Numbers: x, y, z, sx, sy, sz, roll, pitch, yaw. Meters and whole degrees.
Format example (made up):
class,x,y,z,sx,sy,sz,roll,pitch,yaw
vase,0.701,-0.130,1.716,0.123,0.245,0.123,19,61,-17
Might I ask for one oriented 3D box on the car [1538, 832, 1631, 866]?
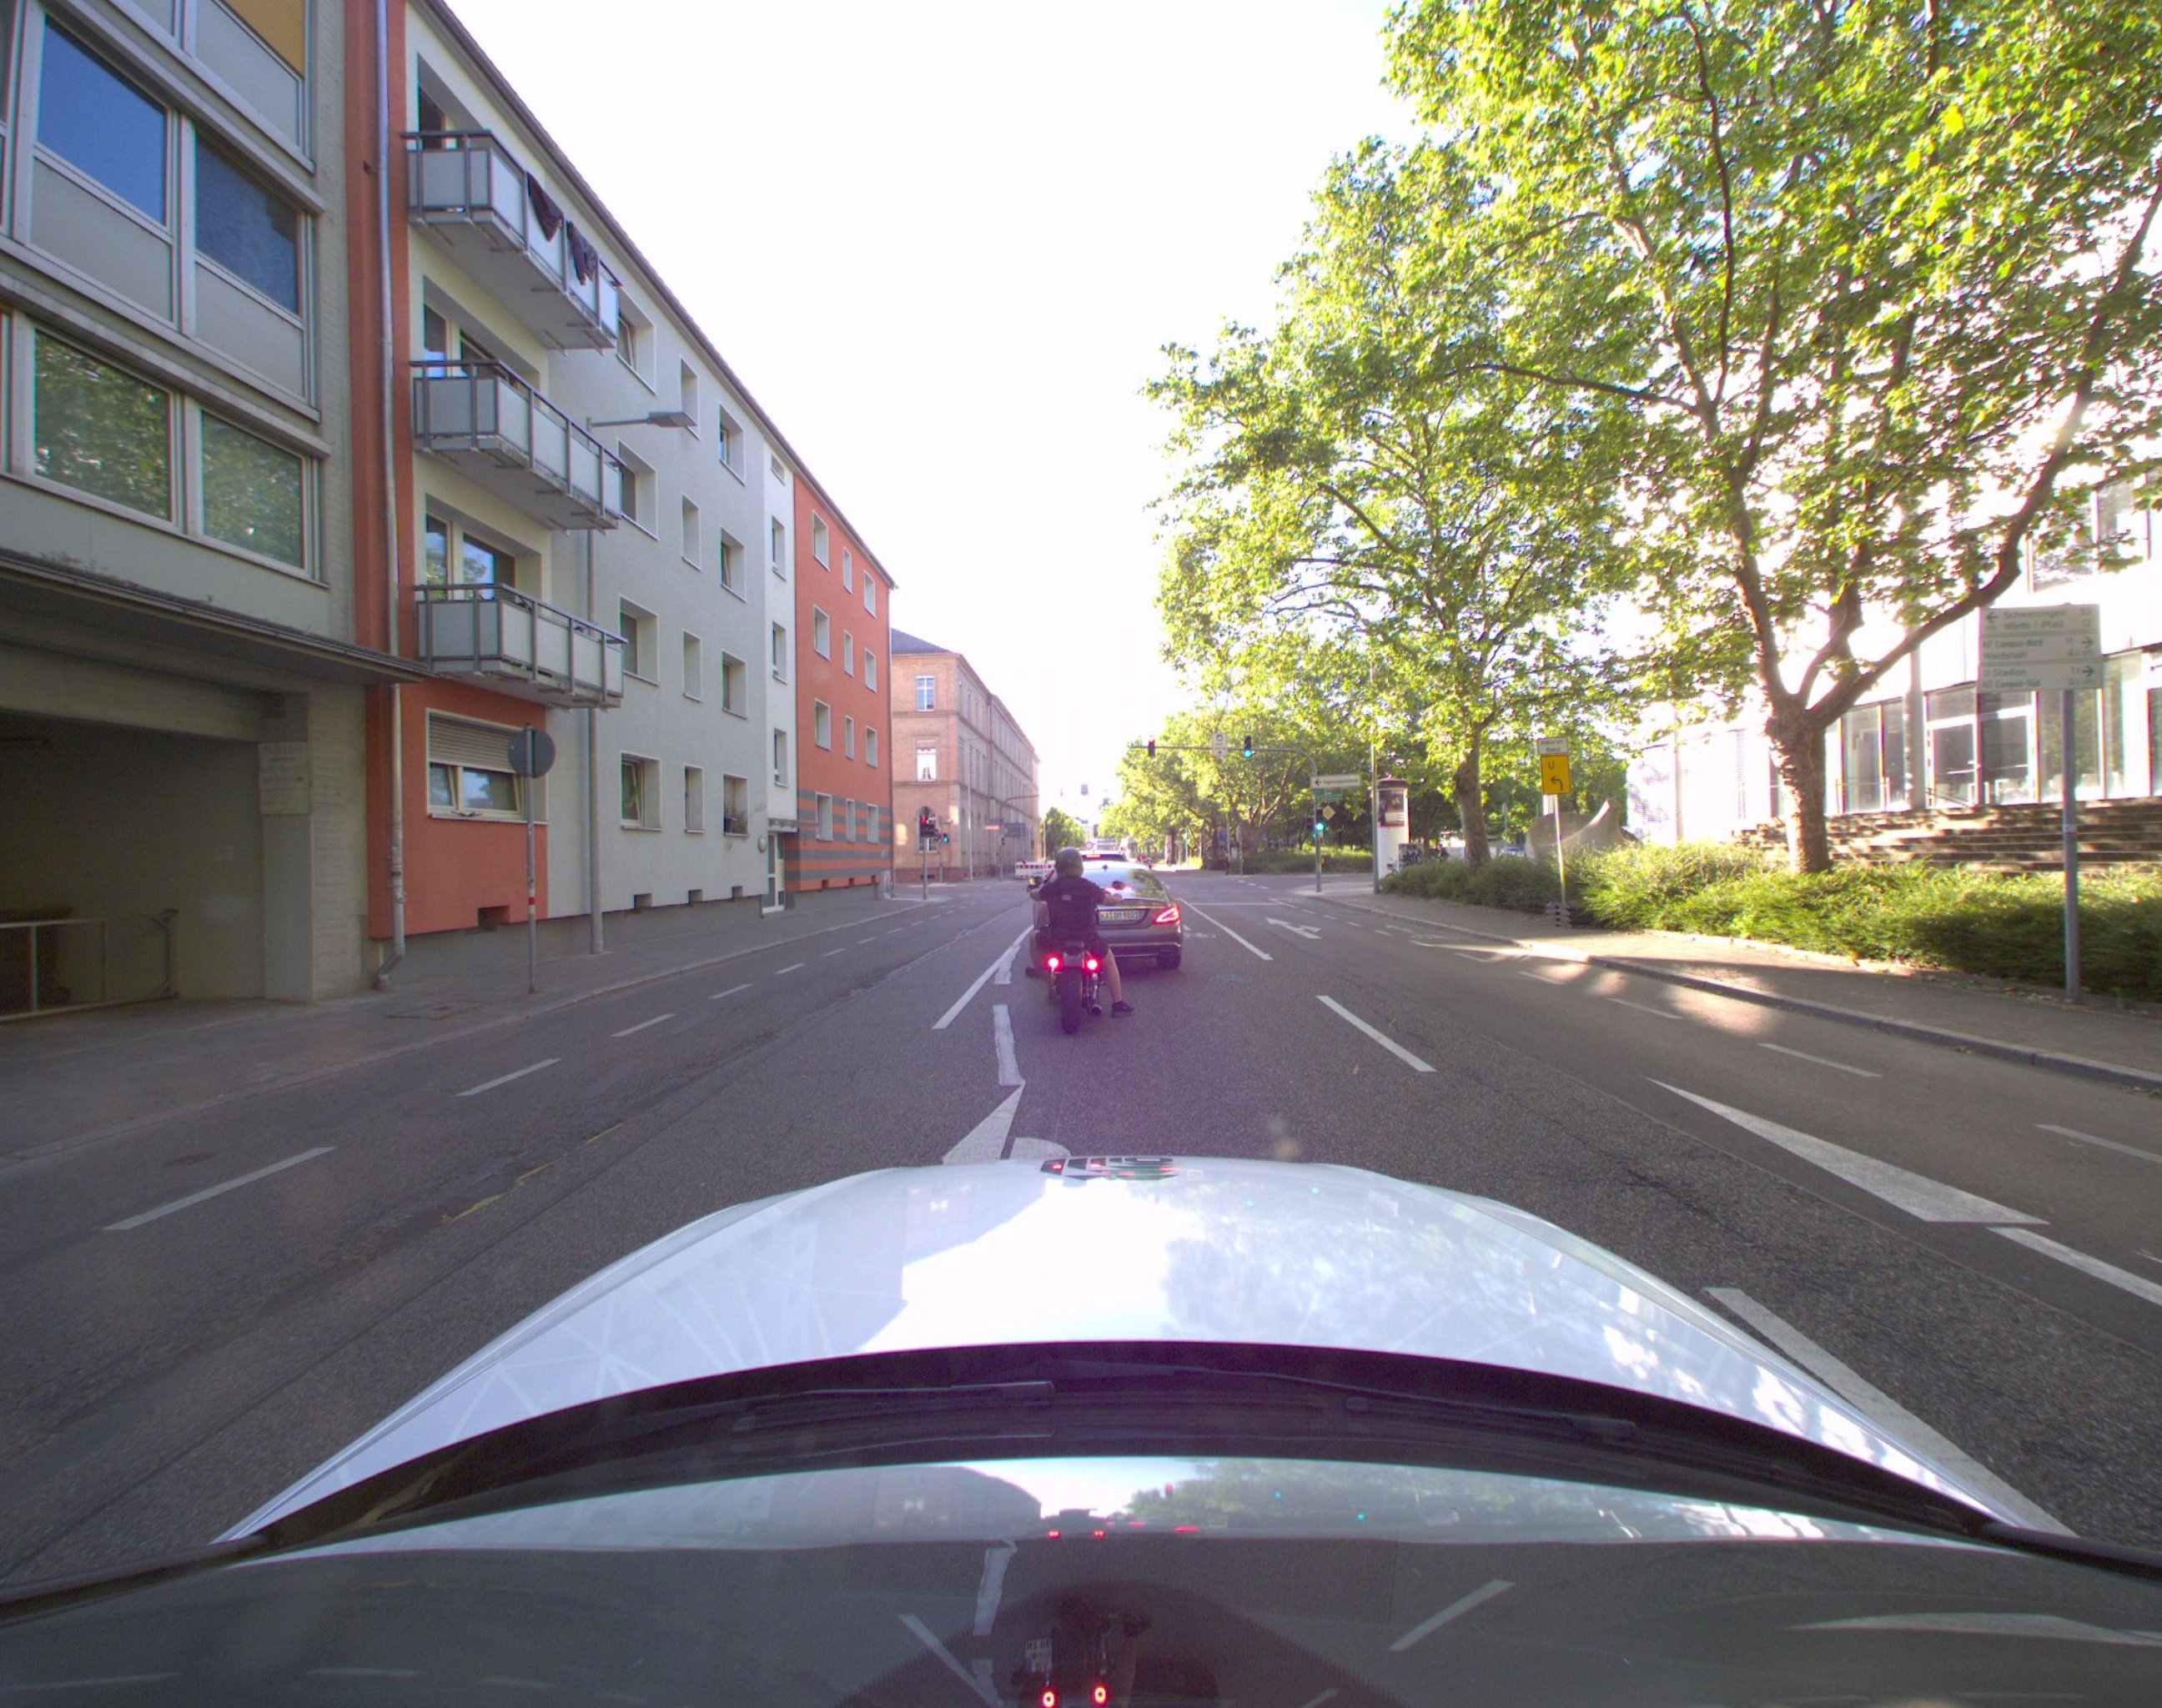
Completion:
class,x,y,z,sx,sy,sz,roll,pitch,yaw
car,28.178,-0.255,45.701,3.975,1.784,2.004,-1,0,7

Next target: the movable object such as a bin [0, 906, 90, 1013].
class,x,y,z,sx,sy,sz,roll,pitch,yaw
movable object such as a bin,-11.278,1.101,8.665,0.584,1.040,0.712,-1,0,2

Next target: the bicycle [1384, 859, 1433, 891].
class,x,y,z,sx,sy,sz,roll,pitch,yaw
bicycle,10.982,0.709,27.339,1.411,1.037,0.538,-1,0,-2

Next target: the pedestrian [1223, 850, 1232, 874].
class,x,y,z,sx,sy,sz,roll,pitch,yaw
pedestrian,10.222,0.534,56.846,0.557,1.678,0.565,-1,0,1

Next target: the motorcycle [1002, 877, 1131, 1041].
class,x,y,z,sx,sy,sz,roll,pitch,yaw
motorcycle,-0.075,0.874,7.812,1.003,1.204,2.666,-1,0,2

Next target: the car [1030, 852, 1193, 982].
class,x,y,z,sx,sy,sz,roll,pitch,yaw
car,0.238,0.742,11.757,1.818,1.476,4.346,-1,0,-5

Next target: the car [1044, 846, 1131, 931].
class,x,y,z,sx,sy,sz,roll,pitch,yaw
car,0.147,0.677,17.834,1.676,1.625,3.841,-1,0,1

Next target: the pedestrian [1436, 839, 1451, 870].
class,x,y,z,sx,sy,sz,roll,pitch,yaw
pedestrian,21.277,0.043,47.789,0.617,1.784,0.631,-1,0,4

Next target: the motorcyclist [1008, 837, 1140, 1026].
class,x,y,z,sx,sy,sz,roll,pitch,yaw
motorcyclist,-0.043,0.673,7.664,1.109,1.613,1.202,-1,0,1
